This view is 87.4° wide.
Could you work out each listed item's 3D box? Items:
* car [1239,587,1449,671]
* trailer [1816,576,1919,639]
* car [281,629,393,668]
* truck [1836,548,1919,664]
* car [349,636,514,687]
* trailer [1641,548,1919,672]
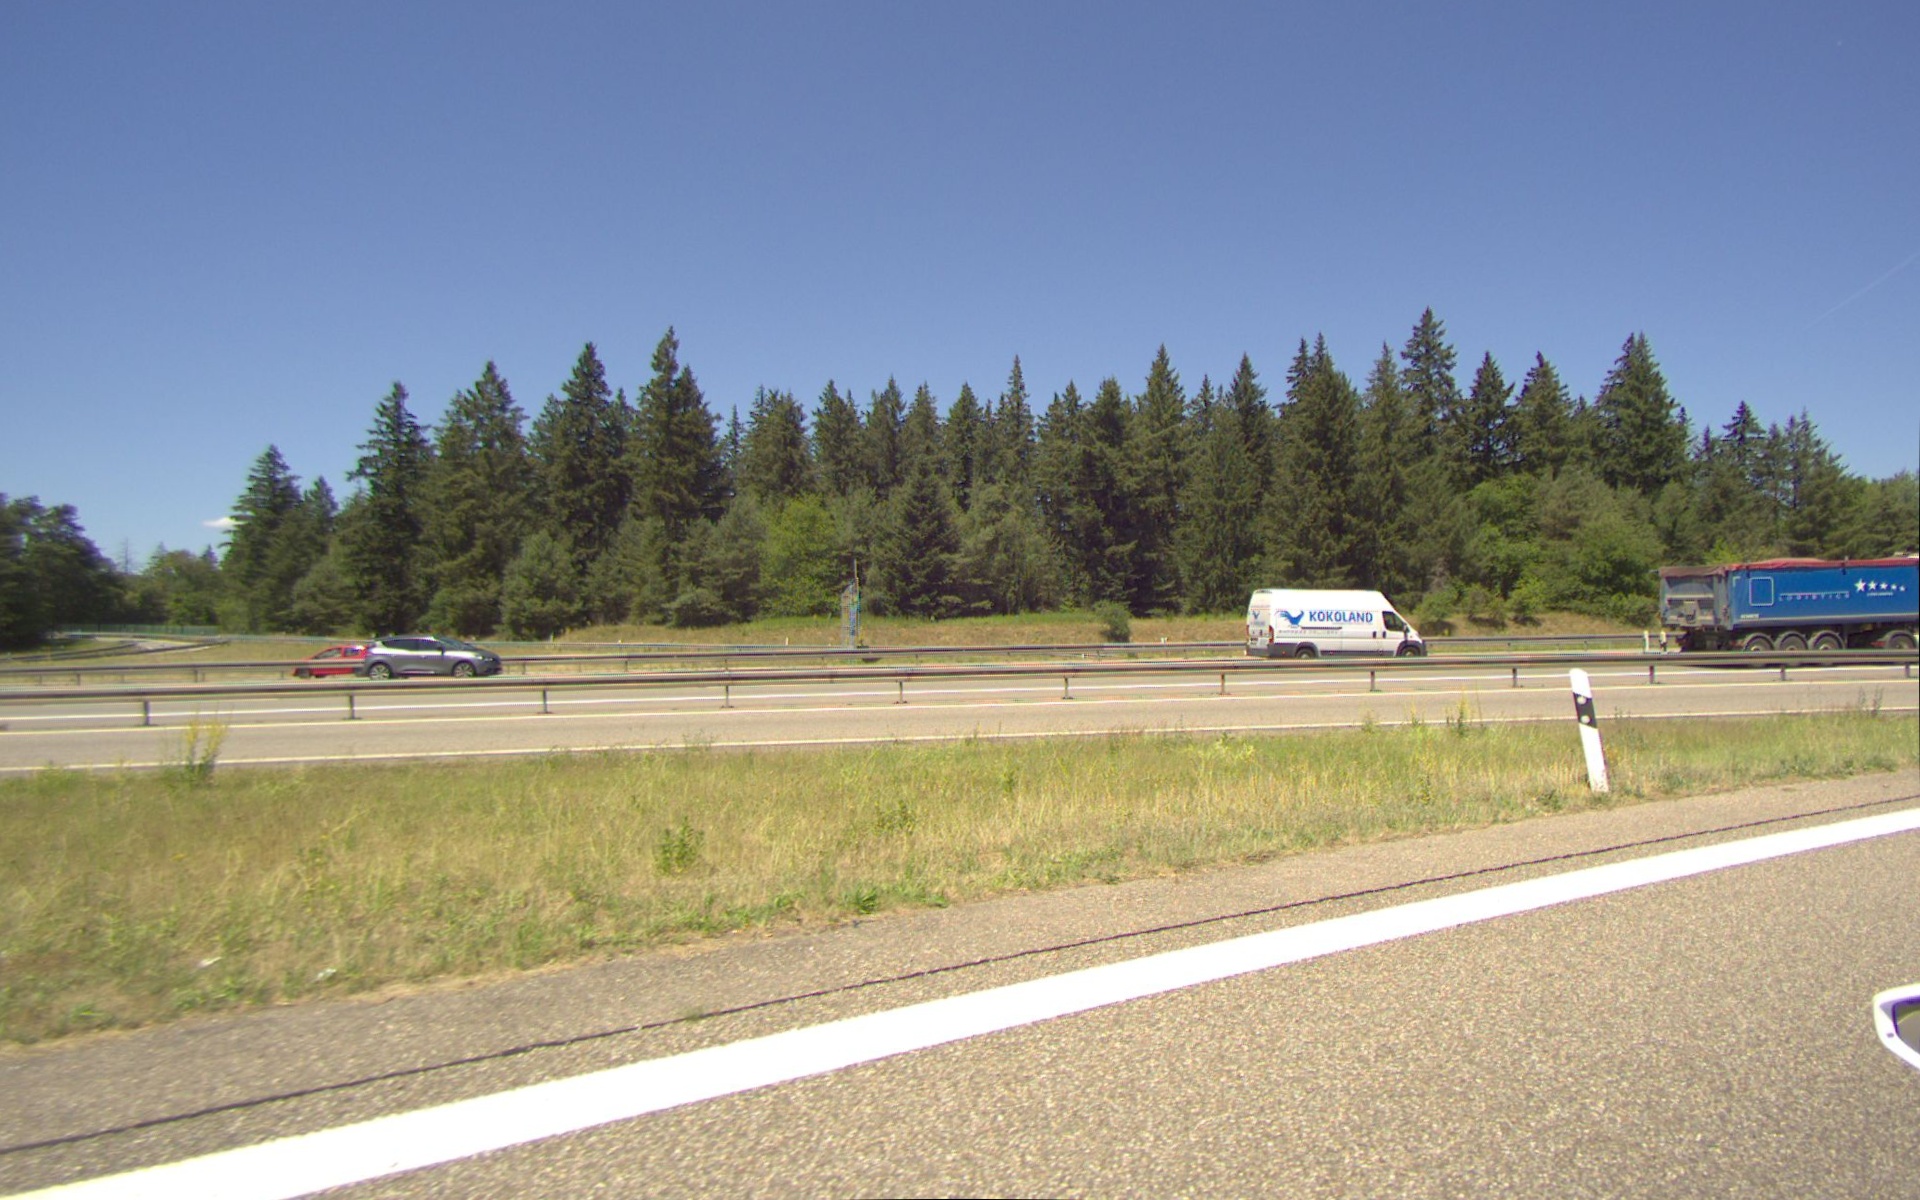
[{"bbox_3d":[13.839,1.076,36.345,6.924,2.870,2.243,1,-1,-9],"label":"car"},{"bbox_3d":[62.625,0.402,64.985,13.486,3.847,2.547,-1,-1,-8],"label":"trailer"},{"bbox_3d":[-28.894,2.284,46.687,3.928,1.750,1.965,0,-4,-10],"label":"car"},{"bbox_3d":[33.746,0.201,34.824,4.537,3.858,2.761,-1,-1,-9],"label":"truck"},{"bbox_3d":[-18.337,2.121,35.068,4.737,1.706,1.775,1,-1,-9],"label":"car"},{"bbox_3d":[28.442,0.297,33.927,9.705,3.858,2.776,-1,-1,-10],"label":"trailer"}]
